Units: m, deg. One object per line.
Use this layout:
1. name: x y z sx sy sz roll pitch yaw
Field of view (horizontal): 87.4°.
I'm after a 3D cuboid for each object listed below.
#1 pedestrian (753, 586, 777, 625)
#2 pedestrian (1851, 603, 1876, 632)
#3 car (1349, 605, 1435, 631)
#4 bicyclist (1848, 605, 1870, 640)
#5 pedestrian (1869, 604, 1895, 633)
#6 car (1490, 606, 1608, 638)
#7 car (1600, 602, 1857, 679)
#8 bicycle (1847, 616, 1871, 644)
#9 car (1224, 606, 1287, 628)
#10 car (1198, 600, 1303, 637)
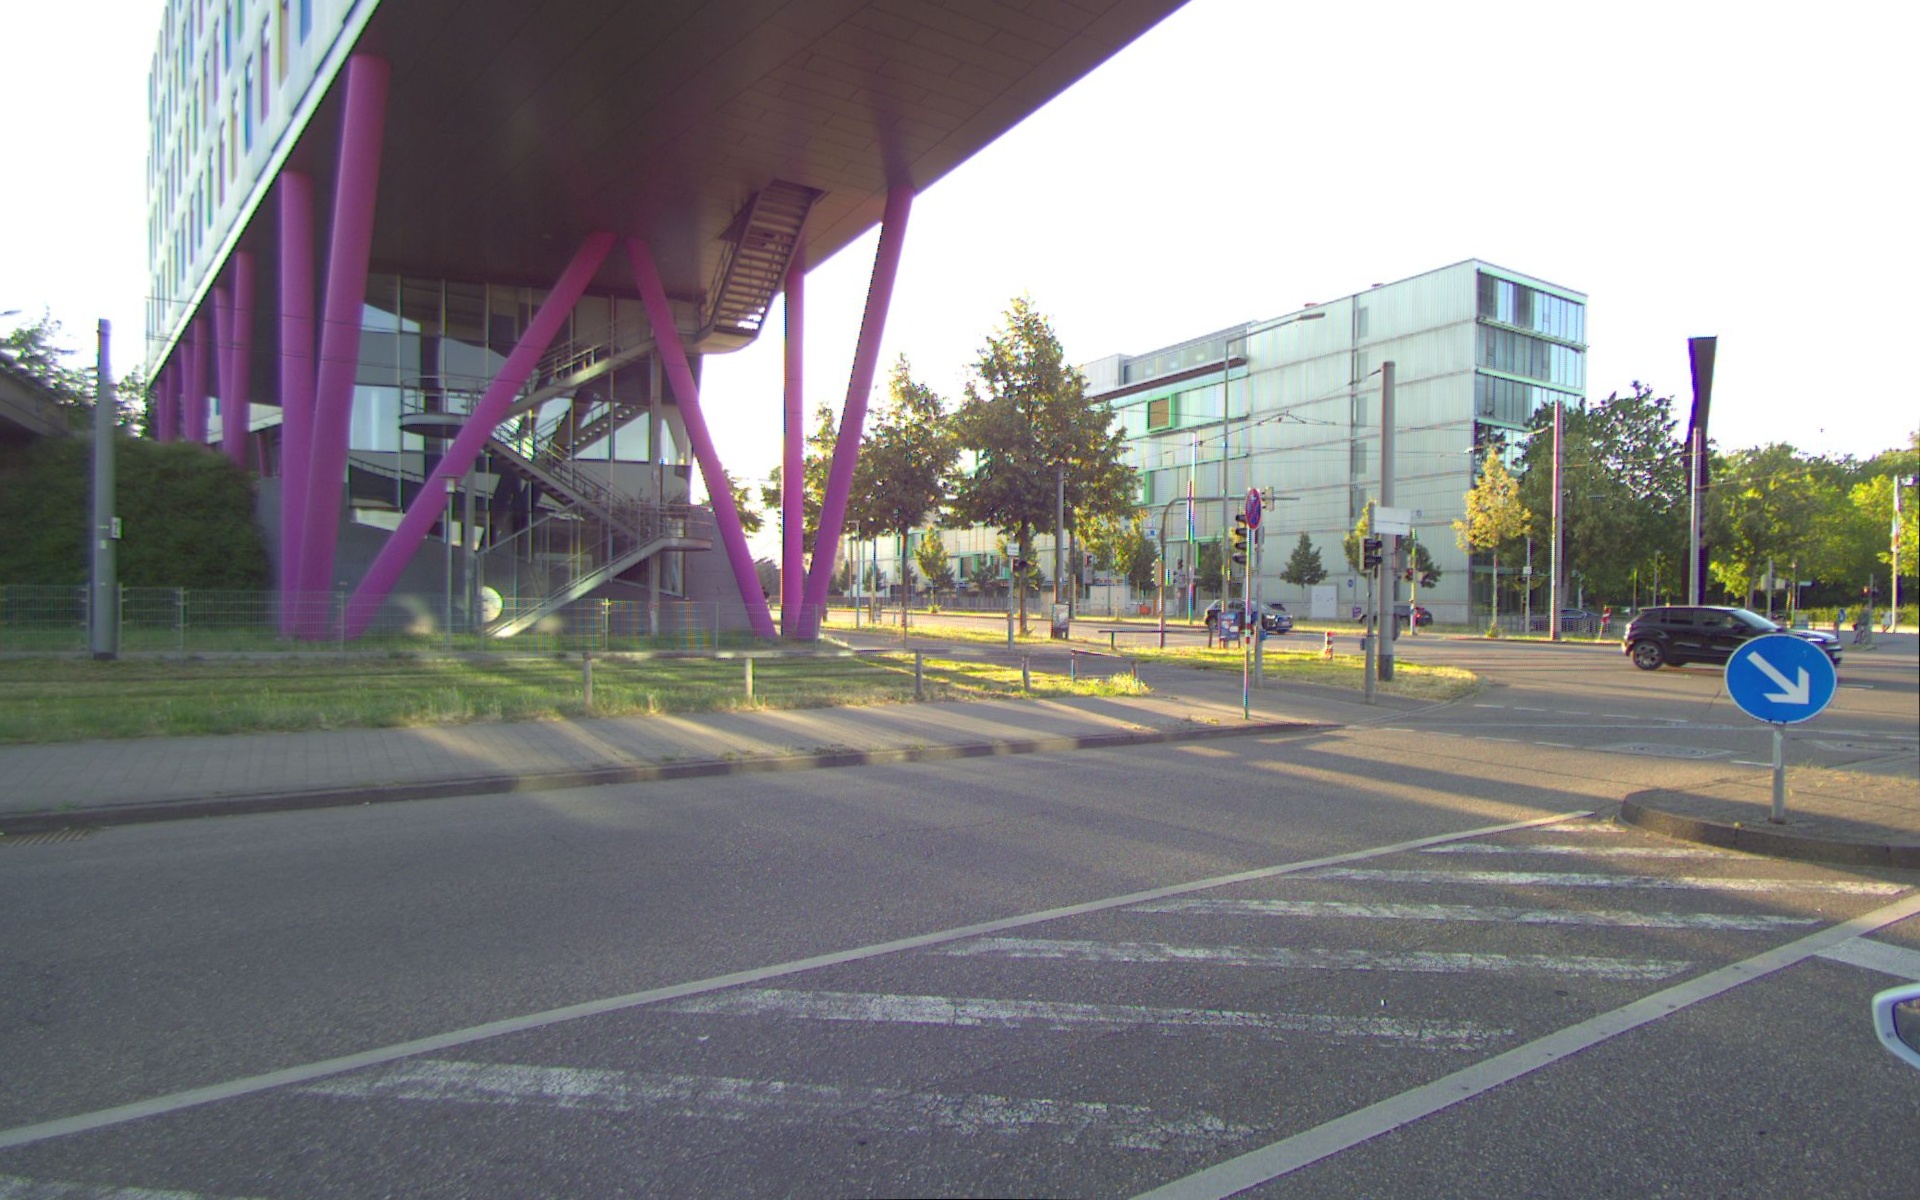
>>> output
1. pedestrian: -8.865 0.250 45.718 0.920 1.747 0.878 1 -2 -23
2. pedestrian: 56.811 1.101 63.161 0.814 1.767 0.863 1 0 -1
3. car: 28.652 1.190 66.787 1.977 1.572 5.075 2 -1 -30
4. bicyclist: 45.051 1.116 50.363 0.741 1.732 0.916 1 0 38
5. pedestrian: 57.897 1.170 63.096 0.813 1.767 0.863 1 0 7
6. car: 31.825 1.172 54.434 1.977 1.572 5.200 2 -1 -30
7. car: 17.900 0.865 23.603 1.979 1.595 4.406 1 0 -34
8. bicycle: 45.206 1.497 50.542 0.721 1.359 2.679 1 0 39
9. car: 22.340 1.271 76.039 1.975 1.572 4.454 2 -1 -28
10. car: 13.294 0.806 46.198 1.968 1.577 4.448 1 0 -34
